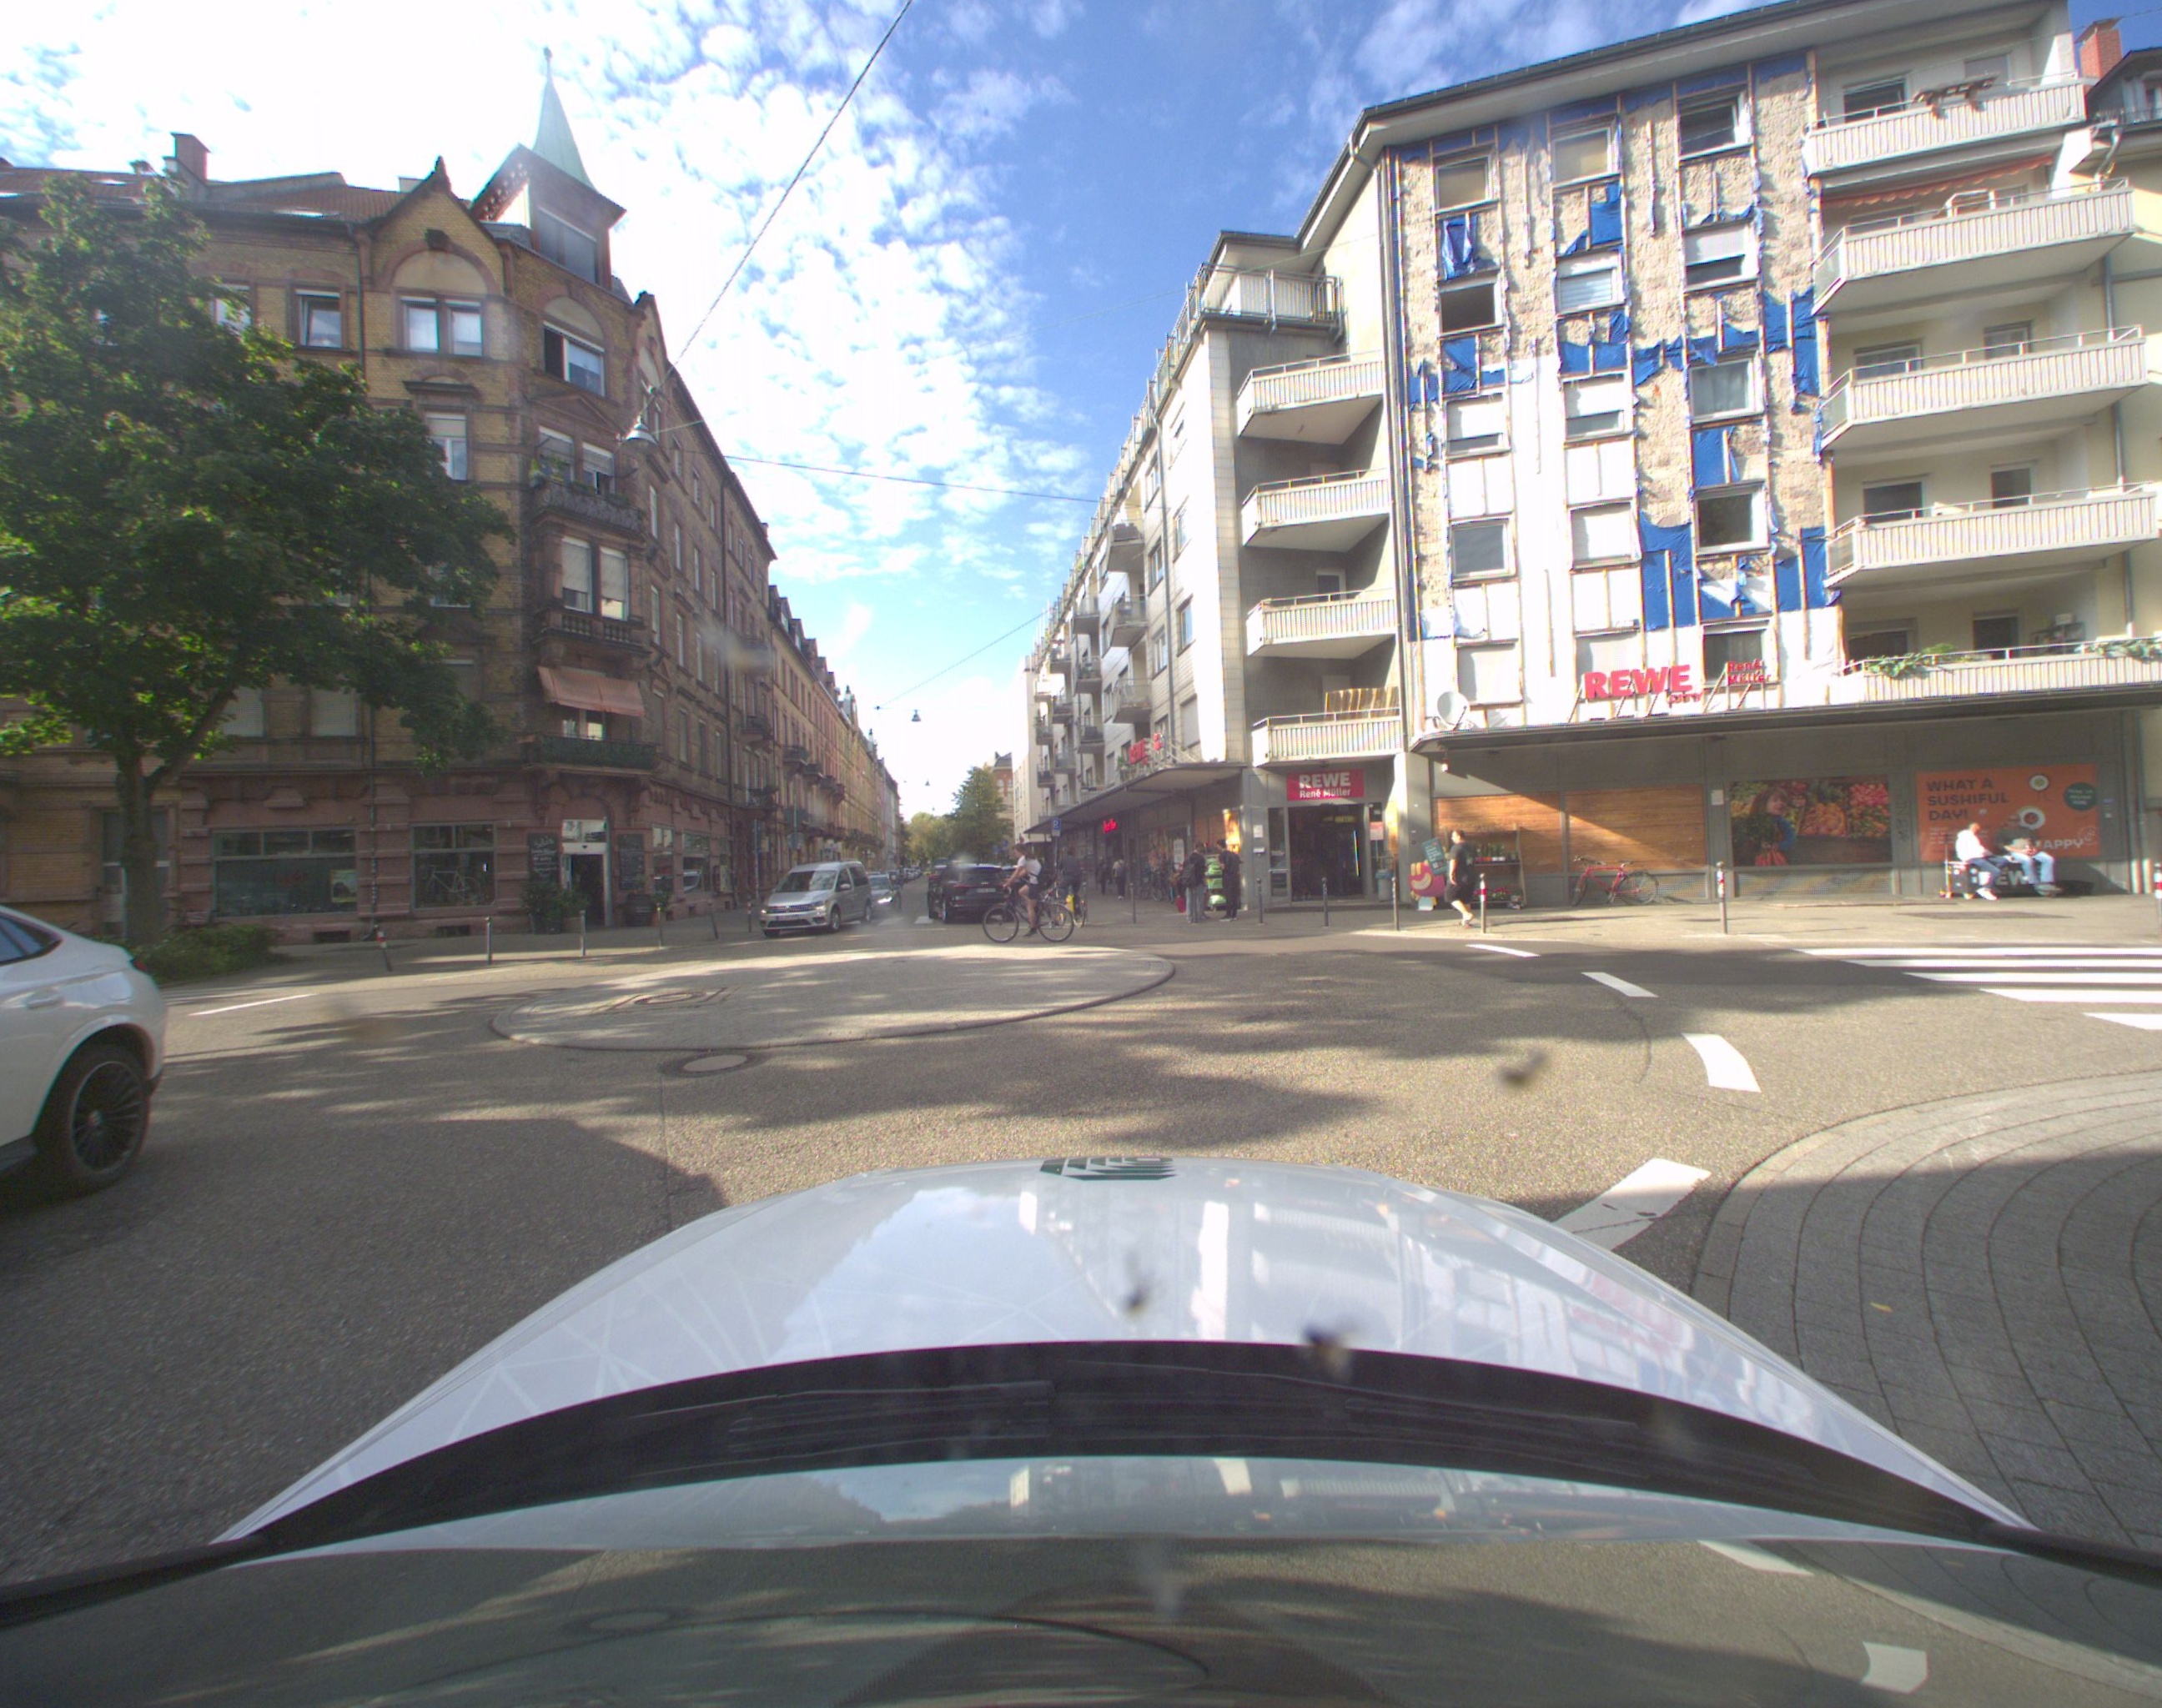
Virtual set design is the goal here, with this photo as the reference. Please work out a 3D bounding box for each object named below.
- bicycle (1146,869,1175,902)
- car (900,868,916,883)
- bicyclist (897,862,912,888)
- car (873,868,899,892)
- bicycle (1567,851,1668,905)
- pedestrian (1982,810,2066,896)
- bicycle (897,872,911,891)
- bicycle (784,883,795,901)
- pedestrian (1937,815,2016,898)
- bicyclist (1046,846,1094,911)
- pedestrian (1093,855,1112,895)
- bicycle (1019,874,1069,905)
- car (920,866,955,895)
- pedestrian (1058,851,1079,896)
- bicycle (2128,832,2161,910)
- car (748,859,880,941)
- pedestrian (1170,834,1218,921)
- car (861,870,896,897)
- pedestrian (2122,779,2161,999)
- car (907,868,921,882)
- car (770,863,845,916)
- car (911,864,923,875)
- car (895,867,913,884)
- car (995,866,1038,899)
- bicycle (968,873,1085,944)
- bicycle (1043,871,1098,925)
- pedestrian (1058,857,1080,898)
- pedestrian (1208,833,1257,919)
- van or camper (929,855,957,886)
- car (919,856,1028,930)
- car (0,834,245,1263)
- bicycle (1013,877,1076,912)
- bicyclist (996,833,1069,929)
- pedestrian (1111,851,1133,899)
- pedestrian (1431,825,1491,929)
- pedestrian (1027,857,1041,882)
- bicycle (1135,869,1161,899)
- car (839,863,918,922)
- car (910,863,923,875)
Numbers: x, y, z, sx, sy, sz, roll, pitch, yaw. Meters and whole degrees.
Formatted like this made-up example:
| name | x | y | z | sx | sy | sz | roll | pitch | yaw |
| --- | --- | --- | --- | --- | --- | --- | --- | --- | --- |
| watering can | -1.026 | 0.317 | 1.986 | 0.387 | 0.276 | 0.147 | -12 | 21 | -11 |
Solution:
| name | x | y | z | sx | sy | sz | roll | pitch | yaw |
| --- | --- | --- | --- | --- | --- | --- | --- | --- | --- |
| bicycle | 2.570 | 1.018 | 26.317 | 0.363 | 1.016 | 1.422 | -2 | -1 | -17 |
| car | -24.353 | 2.979 | 115.026 | 1.994 | 2.014 | 3.986 | -2 | -1 | -10 |
| bicyclist | -13.921 | 1.668 | 64.219 | 1.134 | 1.998 | 1.023 | 0 | -2 | -14 |
| car | -17.828 | 2.378 | 74.530 | 1.994 | 2.014 | 3.985 | -2 | -1 | -11 |
| bicycle | 11.000 | 0.507 | 16.751 | 1.663 | 1.050 | 0.461 | -3 | -1 | 30 |
| pedestrian | 17.522 | -0.023 | 15.155 | 0.741 | 1.550 | 0.734 | -1 | 0 | 17 |
| bicycle | -13.963 | 2.137 | 64.212 | 0.927 | 1.489 | 3.447 | 0 | -1 | -14 |
| bicycle | -15.999 | 2.074 | 44.731 | 0.360 | 0.947 | 1.707 | -1 | -1 | -14 |
| pedestrian | 16.710 | 0.045 | 15.219 | 0.744 | 1.479 | 0.589 | -3 | -1 | 16 |
| bicyclist | -0.264 | 0.562 | 19.187 | 0.935 | 1.484 | 0.743 | -1 | -1 | -16 |
| pedestrian | 0.910 | 0.864 | 34.104 | 0.742 | 1.629 | 0.812 | -2 | -1 | 1 |
| bicycle | -1.324 | 1.285 | 29.566 | 0.672 | 1.027 | 1.801 | -3 | -1 | 43 |
| car | -8.631 | 1.571 | 49.254 | 1.808 | 1.487 | 4.153 | -4 | 1 | -7 |
| pedestrian | -0.528 | 0.833 | 35.102 | 0.727 | 1.864 | 1.064 | -3 | -1 | 5 |
| bicycle | 16.994 | 0.219 | 12.338 | 2.079 | 1.141 | 0.434 | -3 | 0 | -10 |
| car | -6.786 | 1.076 | 21.294 | 1.787 | 1.790 | 4.735 | -3 | 0 | 0 |
| pedestrian | 2.485 | 0.520 | 18.016 | 0.867 | 1.851 | 0.611 | -2 | -1 | -5 |
| car | -15.230 | 2.197 | 61.354 | 1.926 | 1.724 | 4.277 | -4 | 1 | -7 |
| pedestrian | 9.056 | 0.273 | 6.389 | 0.774 | 1.780 | 0.798 | -3 | -1 | 29 |
| car | -26.653 | 3.327 | 129.733 | 1.994 | 2.014 | 3.986 | -2 | -1 | -10 |
| car | -10.122 | 1.258 | 30.453 | 1.781 | 1.724 | 4.434 | -1 | 1 | -7 |
| car | -29.959 | 2.832 | 148.538 | 1.994 | 2.014 | 3.986 | -2 | -1 | -10 |
| car | -22.352 | 2.672 | 102.792 | 1.994 | 2.014 | 3.986 | -2 | -1 | -10 |
| car | -2.981 | 1.271 | 37.239 | 1.645 | 1.324 | 3.566 | -5 | 0 | -8 |
| bicycle | -0.981 | 0.984 | 14.836 | 1.955 | 1.199 | 0.715 | -2 | -1 | 14 |
| bicycle | -0.284 | 1.001 | 19.235 | 0.667 | 1.178 | 2.483 | -1 | -1 | -16 |
| pedestrian | -0.463 | 0.924 | 32.643 | 0.727 | 1.611 | 0.791 | -3 | -1 | 5 |
| pedestrian | 3.358 | 0.480 | 18.062 | 0.867 | 1.851 | 0.611 | -2 | -1 | -5 |
| van or camper | -13.987 | 1.658 | 82.590 | 2.533 | 3.037 | 4.440 | -2 | -1 | -12 |
| car | -3.152 | 0.980 | 22.929 | 2.043 | 1.724 | 4.814 | -4 | 1 | -19 |
| car | -5.068 | 0.833 | 2.434 | 1.953 | 1.722 | 4.808 | -4 | 1 | -26 |
| bicycle | -1.210 | 1.319 | 26.943 | 1.999 | 1.045 | 0.530 | -2 | -1 | -8 |
| bicyclist | -0.871 | 0.484 | 14.818 | 1.005 | 1.668 | 0.947 | -2 | -1 | 14 |
| pedestrian | 1.498 | 0.766 | 29.993 | 0.738 | 1.712 | 0.734 | -2 | -1 | 1 |
| pedestrian | 6.616 | 0.387 | 14.215 | 0.626 | 1.739 | 0.776 | -2 | -1 | 2 |
| pedestrian | -3.741 | 1.228 | 64.748 | 0.900 | 2.014 | 0.733 | -2 | -1 | -9 |
| bicycle | 2.343 | 1.038 | 28.665 | 0.360 | 0.999 | 1.707 | -2 | -1 | -14 |
| car | -6.845 | 1.232 | 27.997 | 1.926 | 1.724 | 4.724 | -4 | 0 | -7 |
| car | -29.029 | 2.718 | 143.655 | 1.994 | 2.014 | 3.986 | -2 | -1 | -10 |
